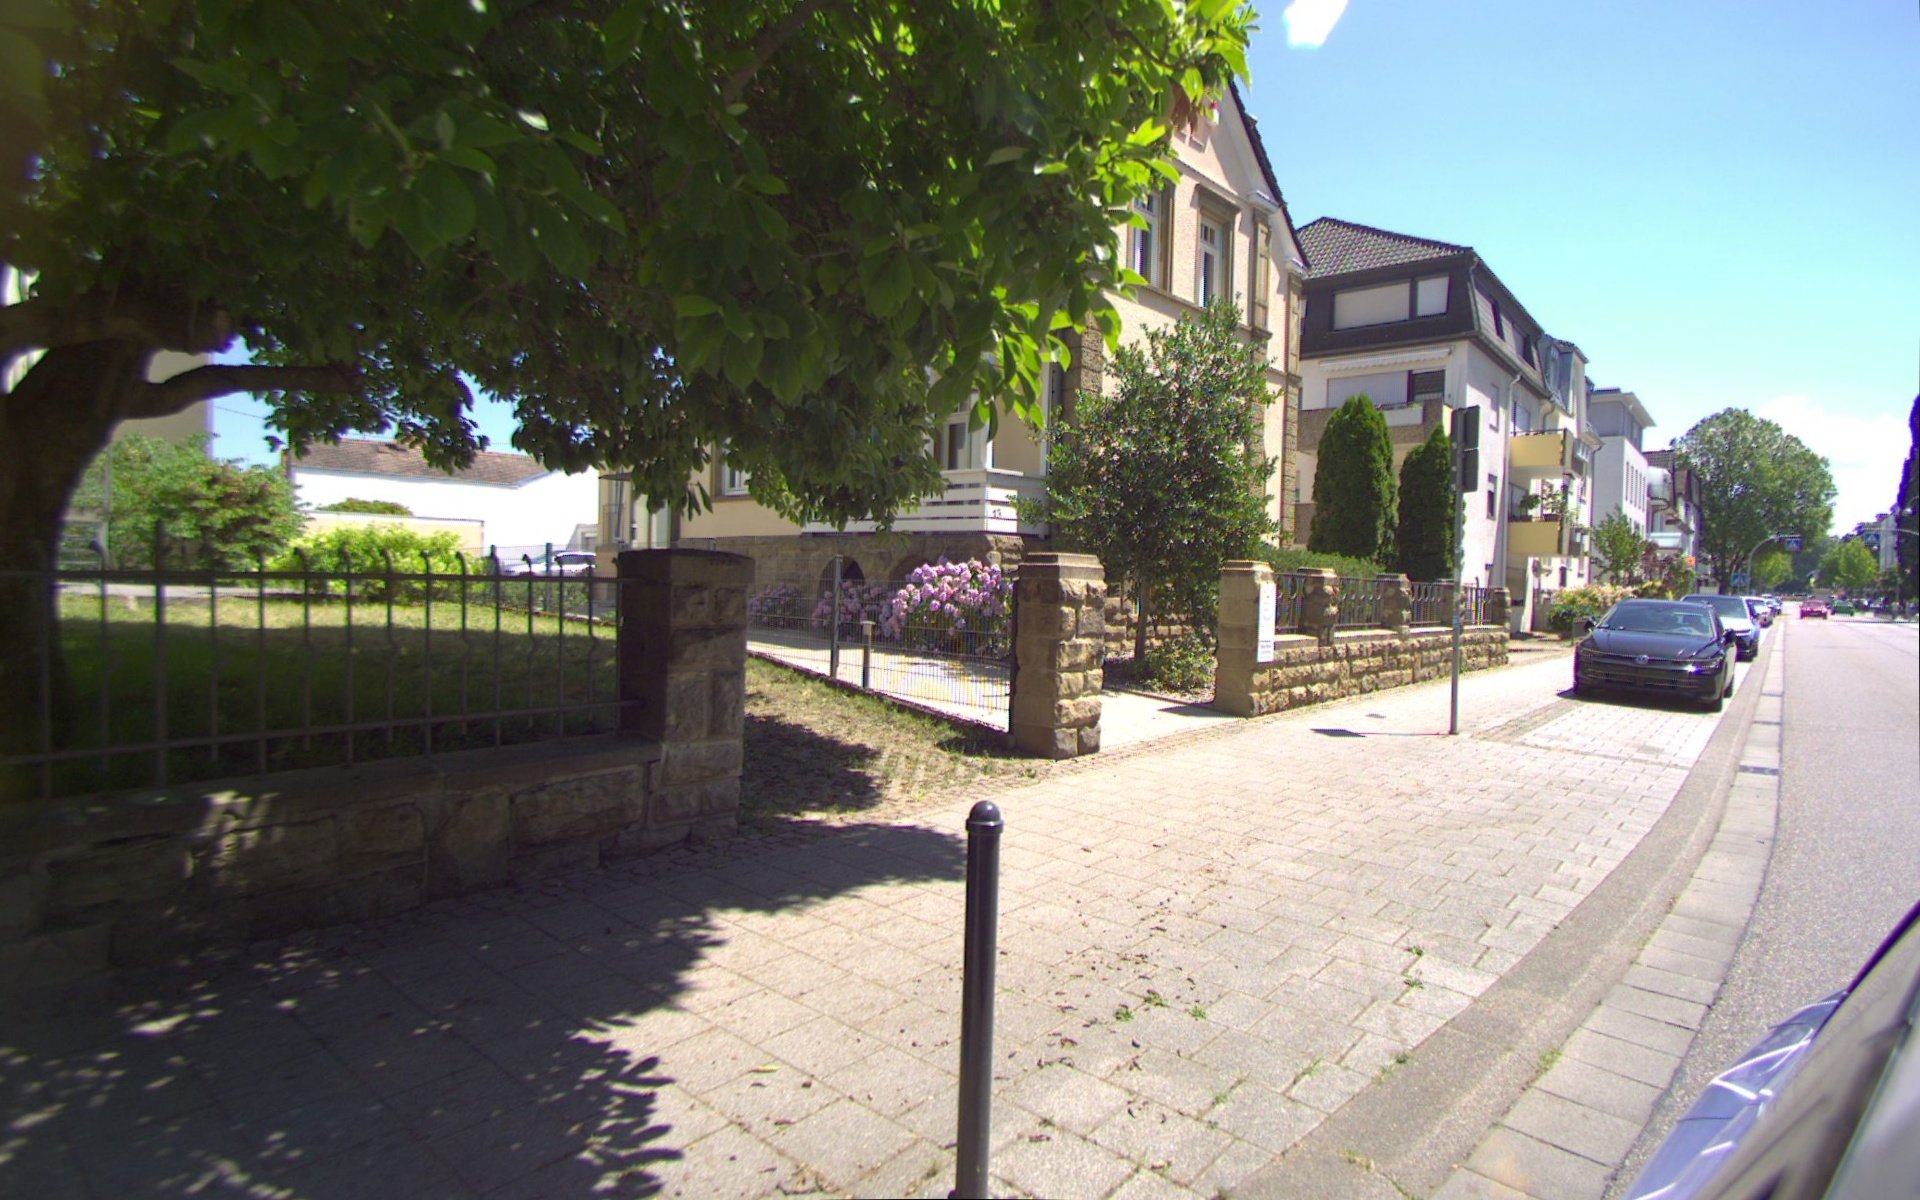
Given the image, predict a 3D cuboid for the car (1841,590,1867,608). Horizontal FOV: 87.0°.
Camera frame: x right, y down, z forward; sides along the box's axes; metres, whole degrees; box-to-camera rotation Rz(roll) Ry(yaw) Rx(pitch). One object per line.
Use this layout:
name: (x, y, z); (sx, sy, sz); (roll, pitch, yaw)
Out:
car: (90.679, -0.118, 102.644); (1.821, 1.608, 4.037); (-3, 0, 43)

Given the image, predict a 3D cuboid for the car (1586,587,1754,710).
car: (10.739, 0.614, 15.183); (1.630, 1.464, 4.334); (5, 4, 40)

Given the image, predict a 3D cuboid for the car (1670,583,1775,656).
car: (19.827, 0.445, 26.241); (1.842, 1.639, 4.362); (4, 3, 40)

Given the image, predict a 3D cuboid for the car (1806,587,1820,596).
car: (150.551, -1.474, 178.655); (1.724, 1.527, 4.236); (1, 3, 38)

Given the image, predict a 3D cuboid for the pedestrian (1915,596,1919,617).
pedestrian: (76.962, 0.499, 80.874); (0.845, 1.666, 0.739); (-2, -1, 42)

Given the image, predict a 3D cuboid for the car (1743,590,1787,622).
car: (43.932, 0.300, 55.216); (1.703, 1.687, 4.513); (-2, -1, 40)

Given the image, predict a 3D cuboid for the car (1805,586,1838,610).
car: (70.044, -0.205, 82.334); (1.992, 1.915, 4.233); (0, 0, 39)

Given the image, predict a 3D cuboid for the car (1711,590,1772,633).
car: (30.547, 0.422, 39.520); (1.603, 1.458, 3.795); (6, 4, 41)

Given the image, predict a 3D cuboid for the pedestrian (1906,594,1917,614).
pedestrian: (81.759, 0.327, 86.972); (0.620, 1.698, 0.891); (-1, -1, 39)

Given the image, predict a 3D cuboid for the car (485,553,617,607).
car: (-12.713, -0.603, 31.522); (3.465, 1.600, 1.654); (0, 1, -41)

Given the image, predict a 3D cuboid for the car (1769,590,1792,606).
car: (76.868, -0.193, 94.811); (1.556, 1.357, 4.114); (4, 3, 39)

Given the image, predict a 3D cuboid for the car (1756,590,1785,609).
car: (69.020, -0.062, 86.128); (1.825, 1.444, 4.632); (3, 2, 40)

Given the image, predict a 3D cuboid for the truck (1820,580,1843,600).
truck: (130.983, -1.481, 152.097); (2.419, 3.020, 6.162); (2, 1, 42)
